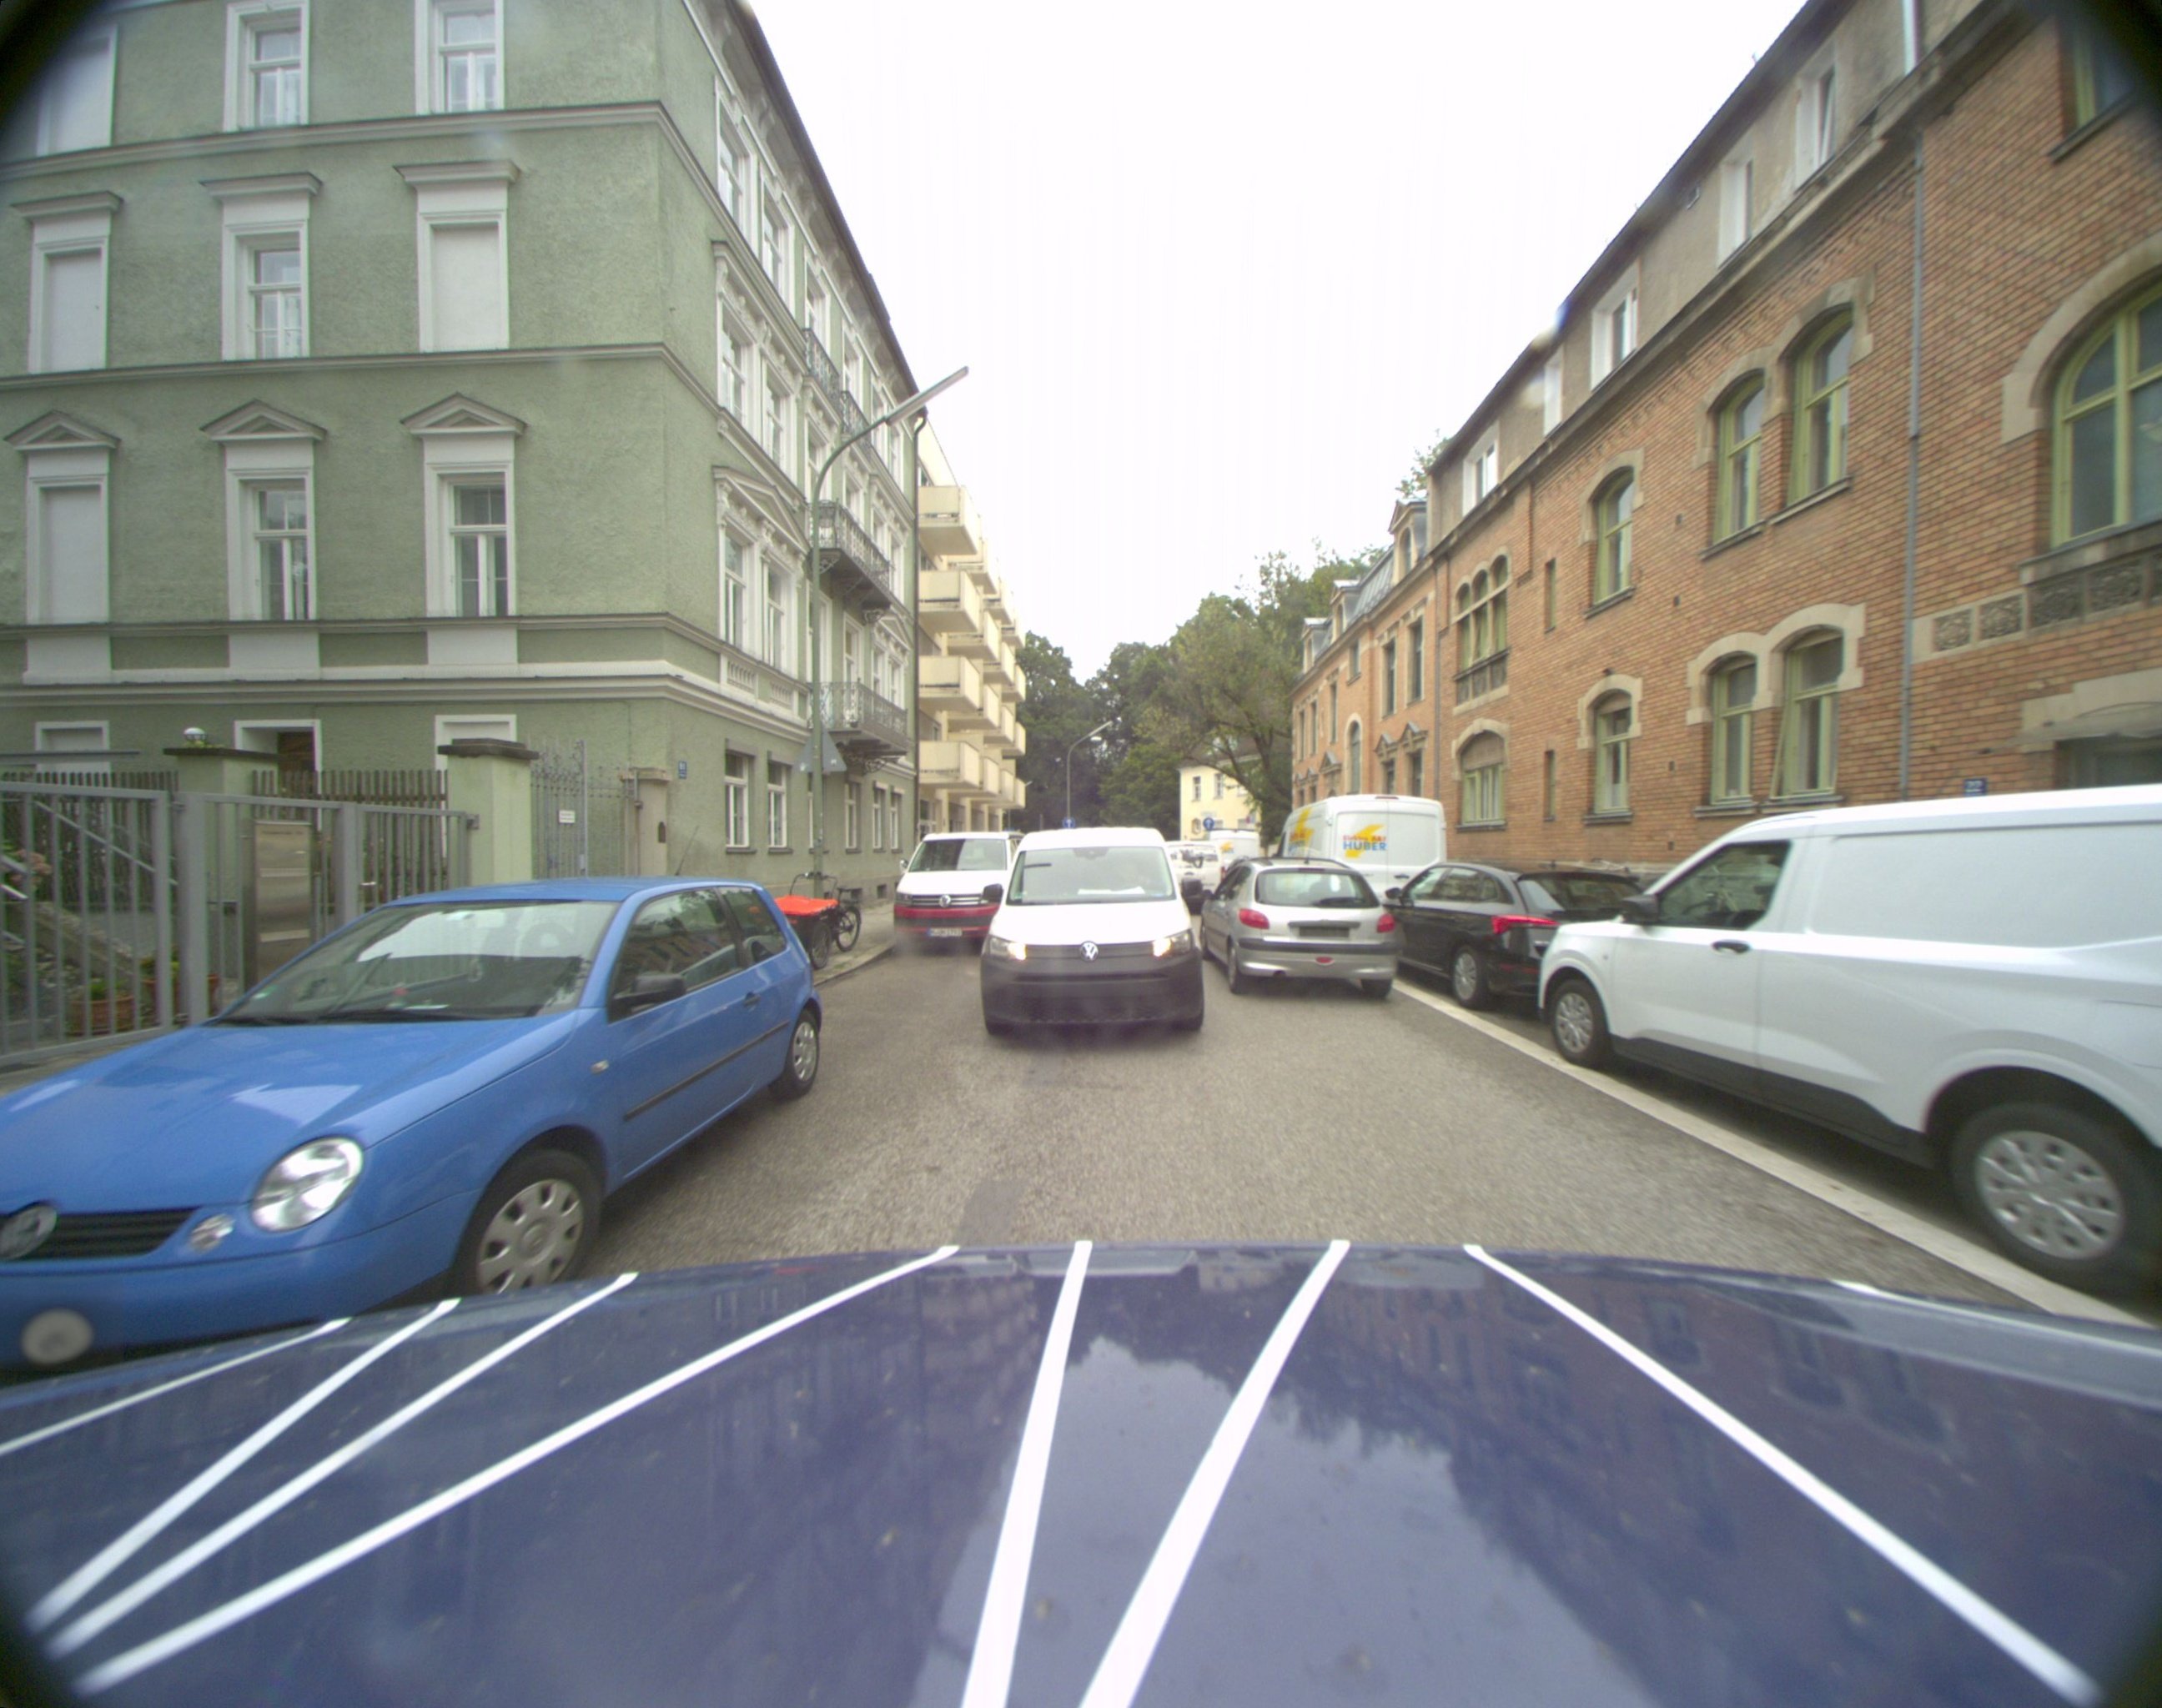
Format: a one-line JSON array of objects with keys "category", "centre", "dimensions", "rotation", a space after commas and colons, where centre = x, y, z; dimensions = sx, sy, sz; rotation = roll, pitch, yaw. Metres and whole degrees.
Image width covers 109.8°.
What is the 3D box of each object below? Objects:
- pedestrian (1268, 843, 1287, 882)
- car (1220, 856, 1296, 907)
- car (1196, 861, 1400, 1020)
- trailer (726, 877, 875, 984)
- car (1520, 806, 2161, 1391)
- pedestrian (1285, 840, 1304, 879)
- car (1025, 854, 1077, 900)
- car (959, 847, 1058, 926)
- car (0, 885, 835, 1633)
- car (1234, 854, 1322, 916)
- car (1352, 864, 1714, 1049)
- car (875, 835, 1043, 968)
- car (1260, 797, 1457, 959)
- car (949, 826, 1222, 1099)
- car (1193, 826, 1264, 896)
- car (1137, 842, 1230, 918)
[{"category": "pedestrian", "centre": [8.301, 0.337, 32.087], "dimensions": [0.633, 1.623, 0.675], "rotation": [2, 1, 4]}, {"category": "car", "centre": [5.646, 0.821, 24.665], "dimensions": [1.694, 1.434, 3.985], "rotation": [2, 0, 3]}, {"category": "car", "centre": [2.327, 0.834, 9.021], "dimensions": [1.584, 1.403, 3.613], "rotation": [0, 1, 4]}, {"category": "trailer", "centre": [-3.737, 0.966, 10.386], "dimensions": [0.944, 1.177, 2.165], "rotation": [3, 1, 8]}, {"category": "car", "centre": [4.221, 0.756, 3.809], "dimensions": [1.694, 1.793, 4.145], "rotation": [1, 1, 2]}, {"category": "pedestrian", "centre": [9.005, 0.244, 32.091], "dimensions": [0.633, 1.623, 0.467], "rotation": [2, 1, 4]}, {"category": "car", "centre": [-1.076, 0.819, 29.124], "dimensions": [1.550, 1.562, 3.978], "rotation": [-2, 0, 3]}, {"category": "car", "centre": [-1.735, 0.757, 19.715], "dimensions": [1.831, 1.747, 4.554], "rotation": [-2, 0, 3]}, {"category": "car", "centre": [-2.560, 0.980, 3.417], "dimensions": [1.623, 1.404, 3.553], "rotation": [-3, 1, 1]}, {"category": "car", "centre": [5.133, 0.747, 20.170], "dimensions": [1.526, 1.434, 3.541], "rotation": [2, 0, 3]}, {"category": "car", "centre": [4.539, 0.891, 8.481], "dimensions": [1.694, 1.434, 4.146], "rotation": [1, 1, 3]}, {"category": "car", "centre": [-1.926, 0.698, 13.533], "dimensions": [1.857, 1.885, 4.593], "rotation": [-3, 0, 4]}, {"category": "car", "centre": [4.883, 0.342, 14.334], "dimensions": [1.986, 2.464, 5.223], "rotation": [1, 1, 3]}, {"category": "car", "centre": [0.161, 0.684, 6.941], "dimensions": [1.775, 1.761, 4.001], "rotation": [0, 1, 4]}, {"category": "car", "centre": [5.806, 0.265, 30.449], "dimensions": [2.118, 2.525, 4.422], "rotation": [2, 0, 4]}, {"category": "car", "centre": [2.620, 0.601, 20.433], "dimensions": [1.776, 1.793, 4.571], "rotation": [0, 1, -1]}]
